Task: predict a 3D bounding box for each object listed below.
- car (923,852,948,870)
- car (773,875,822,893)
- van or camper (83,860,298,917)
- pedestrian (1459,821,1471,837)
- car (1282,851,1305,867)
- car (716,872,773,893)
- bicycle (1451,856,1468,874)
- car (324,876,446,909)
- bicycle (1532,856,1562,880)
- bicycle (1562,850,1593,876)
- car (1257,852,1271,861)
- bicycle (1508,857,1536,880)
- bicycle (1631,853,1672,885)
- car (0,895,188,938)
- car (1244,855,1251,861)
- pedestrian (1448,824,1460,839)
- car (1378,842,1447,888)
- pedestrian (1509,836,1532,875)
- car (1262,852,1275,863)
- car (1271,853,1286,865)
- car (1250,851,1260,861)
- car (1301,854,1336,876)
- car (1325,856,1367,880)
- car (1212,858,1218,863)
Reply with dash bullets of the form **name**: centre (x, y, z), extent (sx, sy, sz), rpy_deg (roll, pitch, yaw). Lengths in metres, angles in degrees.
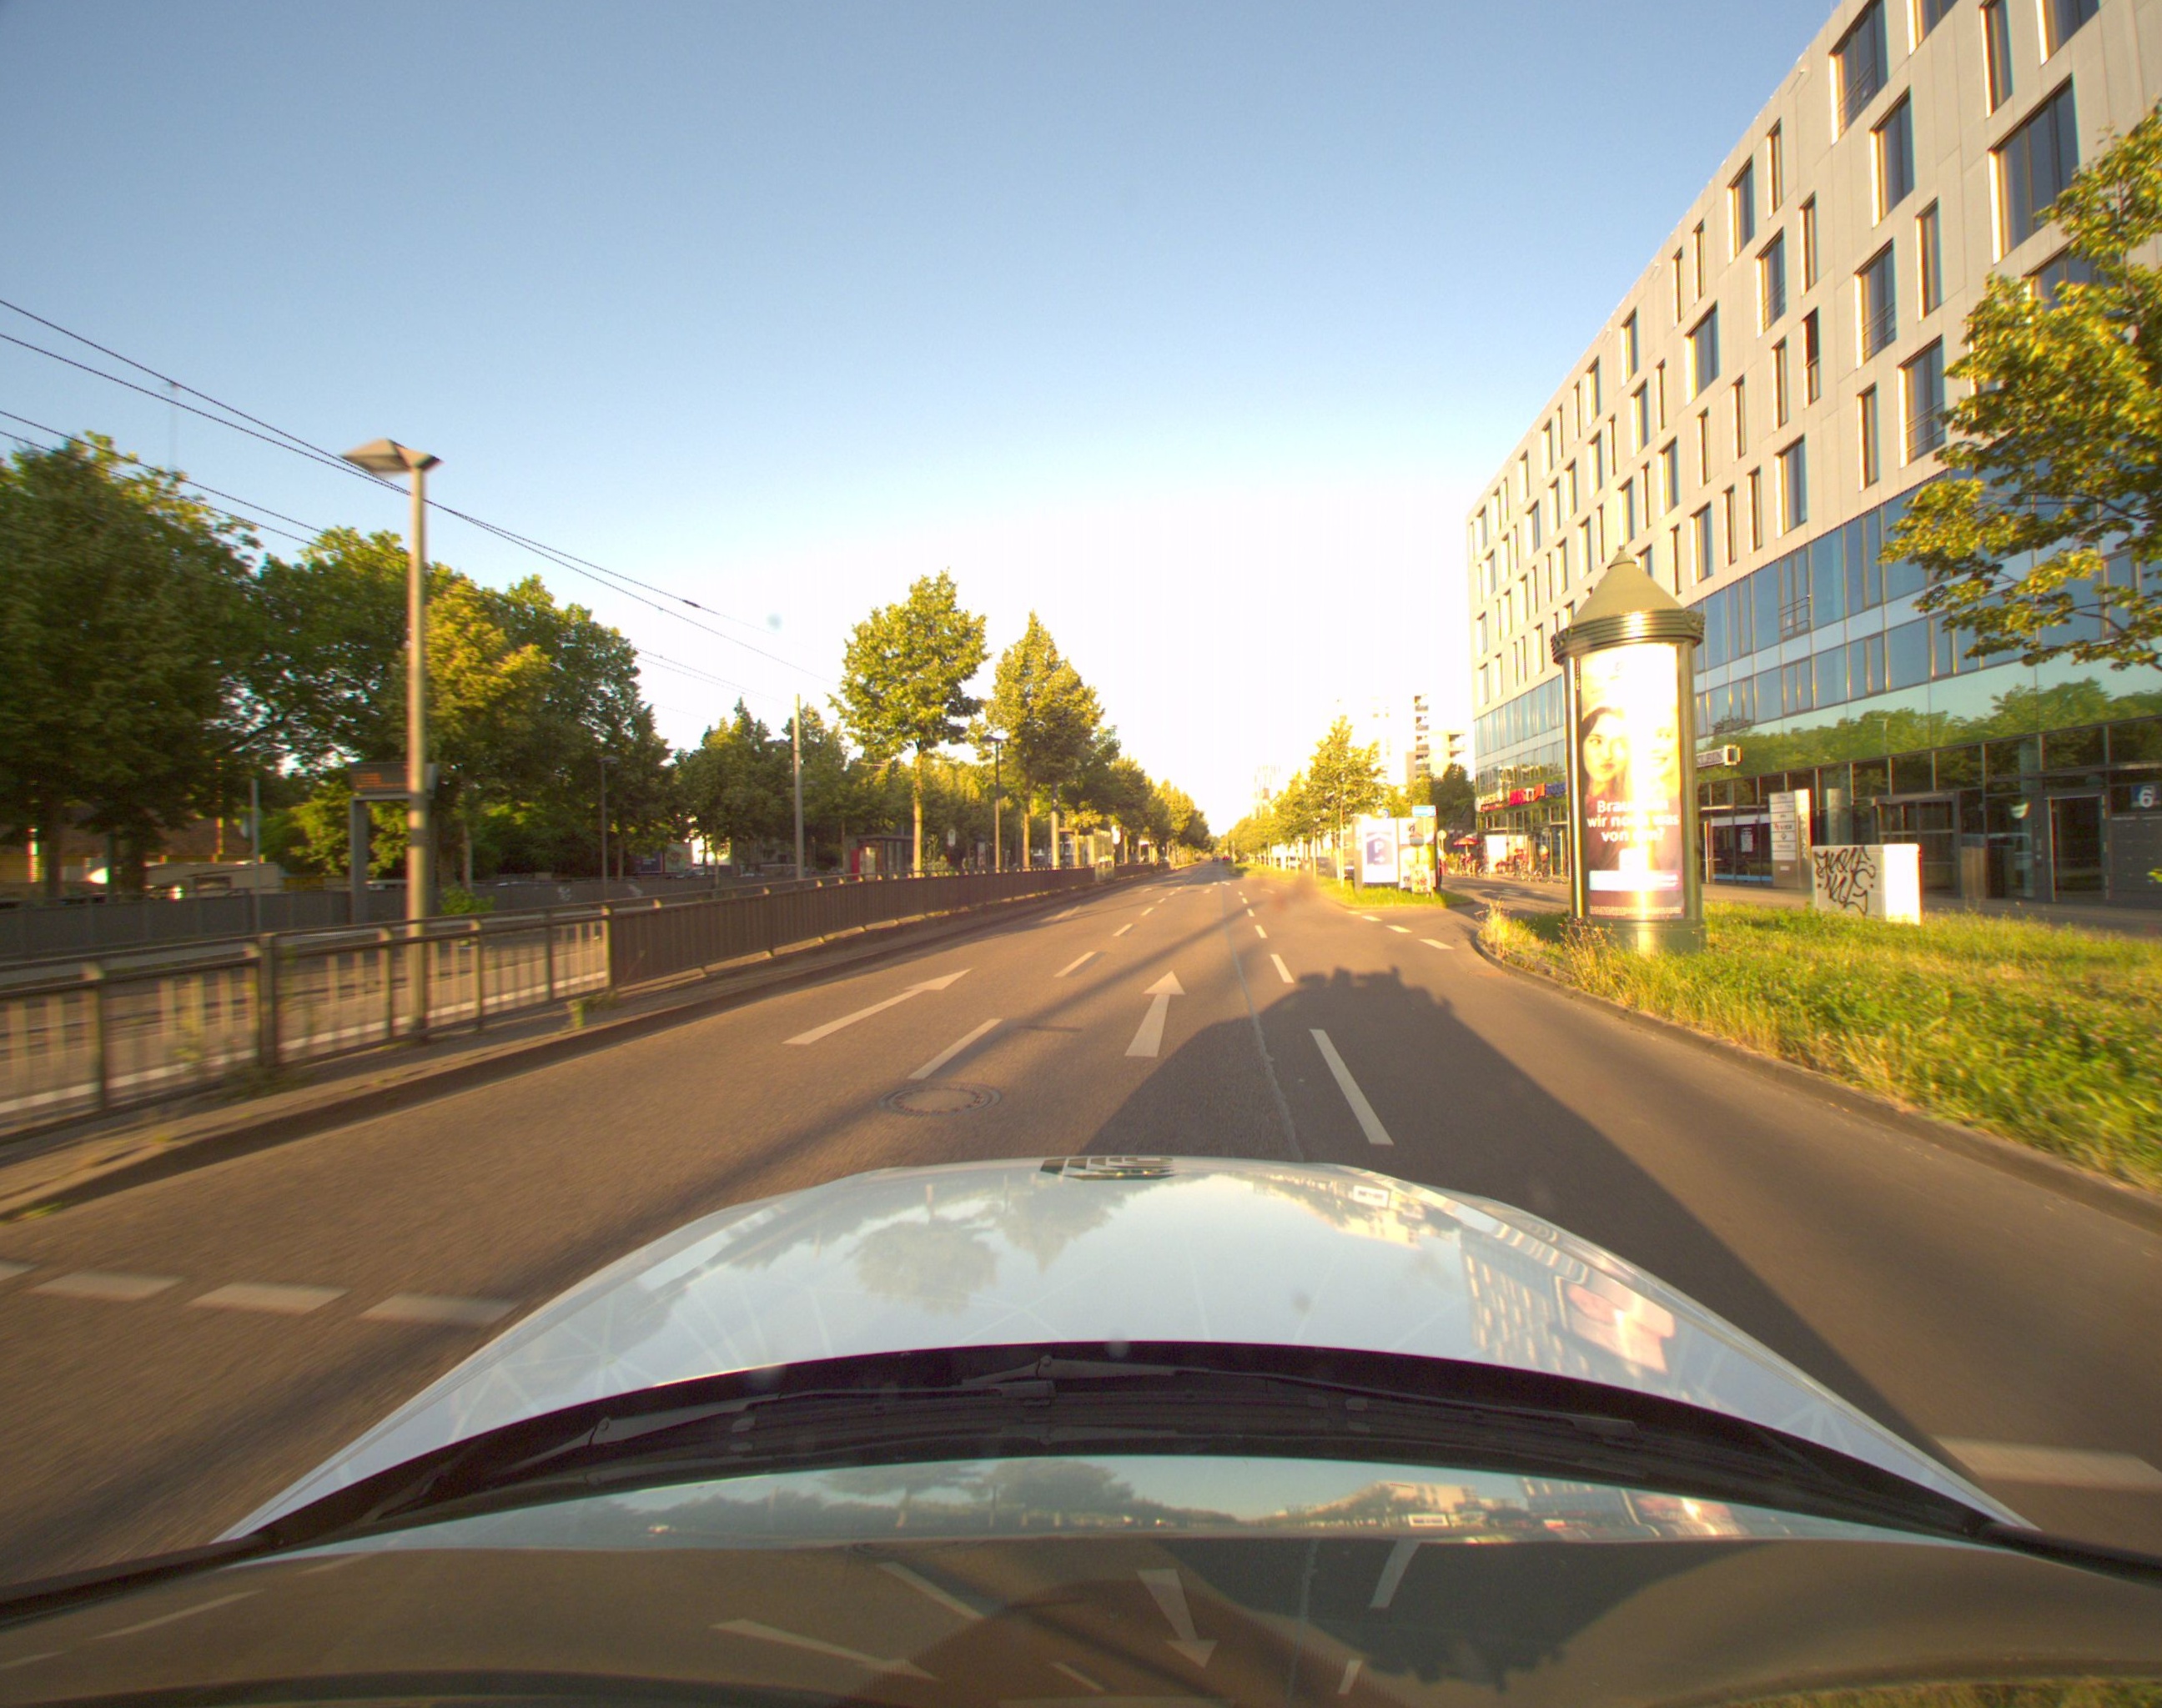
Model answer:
- **car**: centre (-18.266, 0.853, 102.420), extent (1.764, 2.184, 4.012), rpy_deg (-1, 0, 10)
- **car**: centre (-25.037, 2.625, 72.074), extent (1.979, 1.465, 4.260), rpy_deg (-2, -1, 14)
- **van or camper**: centre (-42.250, 1.544, 38.991), extent (2.240, 2.410, 6.612), rpy_deg (-3, -1, 15)
- **pedestrian**: centre (37.511, -2.429, 79.499), extent (0.804, 1.455, 1.120), rpy_deg (-3, -1, 35)
- **car**: centre (23.075, 0.502, 88.623), extent (1.982, 1.697, 4.426), rpy_deg (0, 0, 9)
- **car**: centre (-26.365, 2.251, 63.994), extent (1.979, 1.465, 4.260), rpy_deg (-2, -1, 14)
- **bicycle**: centre (24.376, 0.683, 52.449), extent (0.488, 1.155, 1.640), rpy_deg (-1, 0, 8)
- **car**: centre (-34.982, 1.896, 41.097), extent (1.979, 1.465, 4.260), rpy_deg (-2, -1, 14)
- **bicycle**: centre (21.589, 0.617, 37.757), extent (0.630, 1.068, 2.130), rpy_deg (-1, 0, 14)
- **bicycle**: centre (21.092, 0.356, 34.626), extent (0.629, 1.068, 2.132), rpy_deg (-1, 0, 18)
- **car**: centre (31.767, 0.414, 141.541), extent (1.763, 1.636, 3.566), rpy_deg (-1, 0, 5)
- **bicycle**: centre (21.852, 0.715, 40.347), extent (0.630, 1.068, 2.129), rpy_deg (-1, 0, 12)
- **bicycle**: centre (20.056, 0.523, 28.667), extent (0.538, 1.068, 2.013), rpy_deg (-1, 0, 16)
- **car**: centre (-36.945, 2.284, 30.538), extent (1.906, 1.300, 4.259), rpy_deg (-2, -1, 14)
- **car**: centre (45.559, 1.105, 222.932), extent (1.686, 1.596, 4.010), rpy_deg (-3, -1, 9)
- **pedestrian**: centre (36.606, -2.193, 79.977), extent (0.804, 1.455, 1.120), rpy_deg (-3, -1, 35)
- **car**: centre (14.043, 0.444, 34.743), extent (1.839, 1.828, 4.407), rpy_deg (0, 0, 10)
- **pedestrian**: centre (24.700, 0.088, 45.787), extent (0.807, 2.090, 1.116), rpy_deg (-3, -1, 11)
- **car**: centre (30.992, 0.611, 134.759), extent (1.884, 1.771, 3.956), rpy_deg (-1, 0, 9)
- **car**: centre (26.977, 0.660, 111.311), extent (2.015, 1.697, 4.412), rpy_deg (0, 0, 13)
- **car**: centre (38.835, 0.430, 181.874), extent (1.982, 2.013, 4.010), rpy_deg (-1, 0, 9)
- **car**: centre (19.185, 0.858, 66.007), extent (1.983, 1.697, 4.603), rpy_deg (0, 0, 7)
- **car**: centre (16.837, 0.830, 51.944), extent (1.814, 1.435, 4.470), rpy_deg (0, 0, 9)
- **car**: centre (39.492, 1.874, 240.177), extent (1.686, 1.596, 4.010), rpy_deg (-3, -1, 9)
